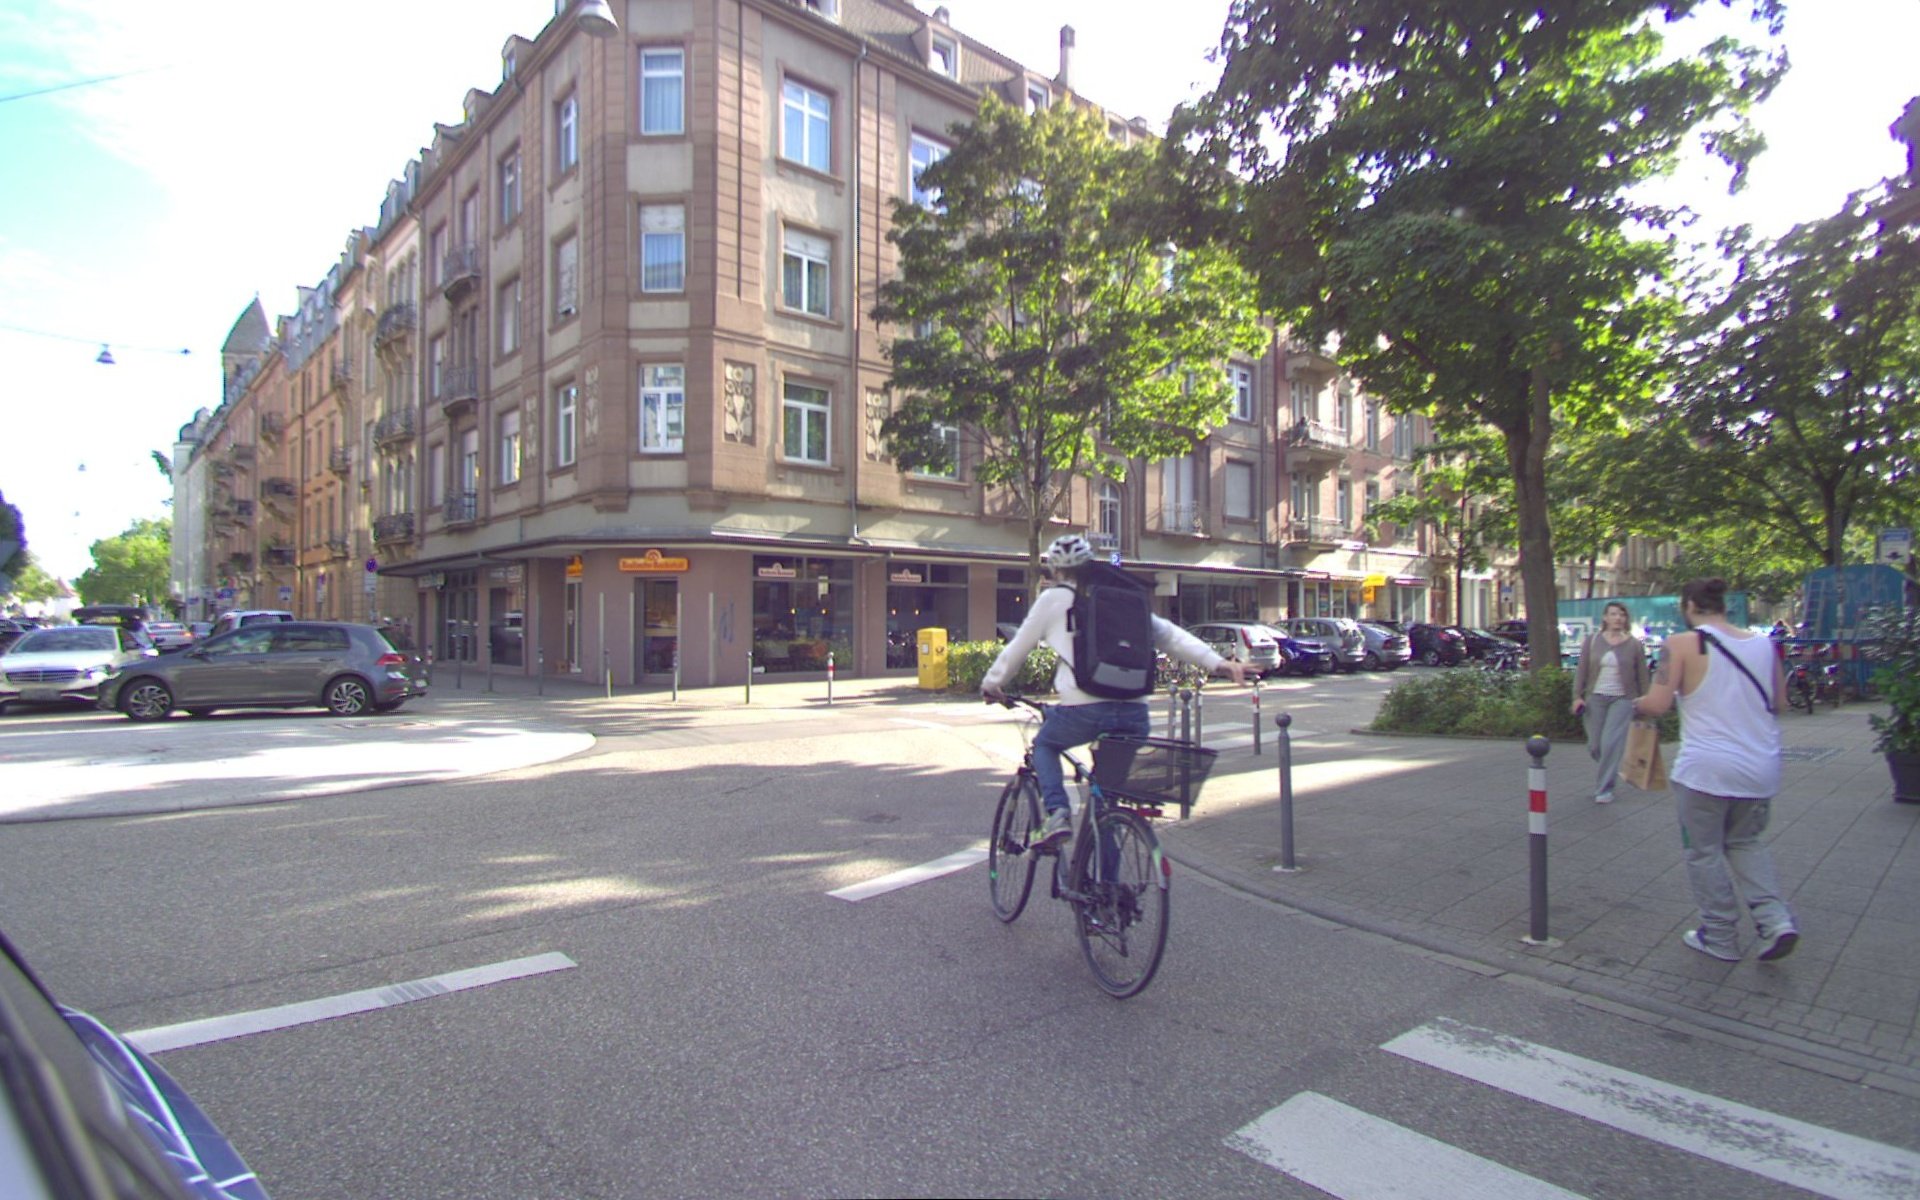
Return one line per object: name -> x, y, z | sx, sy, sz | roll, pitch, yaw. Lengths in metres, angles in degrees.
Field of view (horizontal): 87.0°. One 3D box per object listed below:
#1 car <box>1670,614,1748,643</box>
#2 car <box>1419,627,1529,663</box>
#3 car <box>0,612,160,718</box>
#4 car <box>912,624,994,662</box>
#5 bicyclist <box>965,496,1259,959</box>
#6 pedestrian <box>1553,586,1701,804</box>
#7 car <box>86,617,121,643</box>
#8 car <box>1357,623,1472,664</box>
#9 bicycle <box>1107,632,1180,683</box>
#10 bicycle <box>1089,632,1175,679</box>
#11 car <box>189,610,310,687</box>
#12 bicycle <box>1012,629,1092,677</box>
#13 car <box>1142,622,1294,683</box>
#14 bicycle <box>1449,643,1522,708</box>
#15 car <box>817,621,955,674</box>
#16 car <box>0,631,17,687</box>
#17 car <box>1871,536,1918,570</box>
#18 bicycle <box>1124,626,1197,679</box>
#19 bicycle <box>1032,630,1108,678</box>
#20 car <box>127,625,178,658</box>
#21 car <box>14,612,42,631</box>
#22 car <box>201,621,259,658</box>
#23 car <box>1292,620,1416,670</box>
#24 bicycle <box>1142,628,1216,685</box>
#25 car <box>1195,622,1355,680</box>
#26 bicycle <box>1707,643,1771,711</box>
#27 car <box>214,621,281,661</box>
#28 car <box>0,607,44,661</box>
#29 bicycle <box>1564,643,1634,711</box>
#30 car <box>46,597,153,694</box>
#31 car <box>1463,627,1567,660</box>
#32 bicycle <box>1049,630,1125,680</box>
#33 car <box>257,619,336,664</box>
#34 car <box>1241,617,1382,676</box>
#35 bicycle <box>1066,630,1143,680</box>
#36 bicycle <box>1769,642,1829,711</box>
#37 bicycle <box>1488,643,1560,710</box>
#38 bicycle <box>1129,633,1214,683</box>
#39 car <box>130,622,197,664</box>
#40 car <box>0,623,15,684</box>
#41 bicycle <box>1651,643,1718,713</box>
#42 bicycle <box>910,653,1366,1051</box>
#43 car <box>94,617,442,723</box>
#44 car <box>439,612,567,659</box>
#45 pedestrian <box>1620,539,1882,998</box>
car -> 43.613, 1.677, 58.954 | 1.571, 1.605, 3.365 | -1, -1, -40
car -> 18.904, 1.639, 37.307 | 1.355, 1.263, 3.344 | 3, -3, -41
car -> -15.917, 1.058, 18.107 | 1.912, 1.609, 4.850 | -1, 0, -31
car -> -0.290, 1.934, 46.430 | 3.576, 1.578, 1.581 | -1, -1, -40
bicyclist -> 0.616, 0.483, 4.370 | 0.691, 1.690, 1.115 | 2, -2, -32
pedestrian -> 5.206, 0.710, 7.905 | 0.797, 1.590, 0.616 | -1, -4, -37
car -> -66.811, 2.358, 78.917 | 1.915, 1.894, 4.841 | -1, -1, -43
car -> 15.560, 1.483, 34.768 | 1.355, 1.342, 3.344 | 3, -3, -41
bicycle -> 4.317, 1.320, 23.710 | 2.230, 1.143, 0.479 | 1, -2, -45
bicycle -> 4.268, 1.360, 24.977 | 2.474, 1.110, 0.709 | 2, -4, -42
car -> -18.543, 1.237, 26.334 | 4.332, 1.804, 1.808 | -3, -2, 44
bicycle -> 2.337, 1.307, 25.437 | 2.396, 1.143, 0.580 | 1, -2, -45
car -> 6.864, 1.359, 27.162 | 1.552, 1.488, 3.704 | -1, -1, -41
bicycle -> 9.289, 1.303, 17.853 | 0.591, 1.038, 2.112 | -4, -3, 42
car -> -2.254, 1.402, 30.293 | 3.995, 1.441, 1.744 | -2, -1, 39
car -> -25.213, 1.388, 24.199 | 1.503, 1.391, 3.560 | 0, -3, 22
car -> 61.567, -3.057, 66.622 | 3.940, 2.029, 2.002 | -1, -1, -44
bicycle -> 4.652, 1.183, 23.366 | 2.257, 1.166, 0.479 | 1, -2, -45
bicycle -> 2.741, 1.312, 25.025 | 2.396, 1.143, 0.479 | 1, -2, -45
car -> -38.875, 1.965, 48.671 | 1.743, 1.392, 4.458 | -3, 0, -41
car -> -97.252, 2.223, 105.634 | 1.968, 1.903, 4.007 | -1, -1, -40
car -> -33.716, 1.799, 46.705 | 1.736, 1.610, 4.347 | 0, -2, -41
car -> 12.320, 1.384, 31.762 | 1.355, 1.454, 3.344 | -1, -1, -41
bicycle -> 4.996, 1.260, 22.969 | 2.259, 1.234, 0.479 | 1, -2, -45
car -> 8.788, 1.391, 28.502 | 1.552, 1.488, 4.080 | -1, -1, -41
bicycle -> 12.360, 1.199, 16.039 | 0.591, 0.976, 2.047 | -4, -3, 42
car -> -29.464, 1.665, 41.824 | 1.736, 1.508, 4.137 | -1, -1, -43
car -> -44.297, 1.553, 45.178 | 1.982, 2.441, 4.715 | -2, -1, 15
bicycle -> 10.632, 1.256, 16.798 | 0.591, 1.019, 2.047 | -4, -3, 42
car -> -20.139, 1.029, 23.816 | 1.765, 2.079, 4.007 | 1, -2, -39
car -> 21.983, 1.718, 40.180 | 1.355, 1.263, 3.344 | 3, -3, -41
bicycle -> 3.114, 1.313, 24.637 | 2.396, 1.143, 0.479 | 1, -2, -45
car -> -22.390, 1.363, 34.108 | 1.698, 1.379, 3.834 | -1, -1, -41
car -> 10.471, 1.358, 30.338 | 1.552, 1.608, 3.704 | -1, -1, -41
bicycle -> 3.500, 1.288, 24.269 | 2.396, 1.143, 0.479 | 1, -2, -45
bicycle -> 13.206, 1.177, 15.918 | 0.591, 0.976, 2.047 | -4, -3, 42
bicycle -> 9.690, 1.288, 17.351 | 0.591, 1.038, 2.047 | -4, -3, 42
bicycle -> 5.220, 1.408, 24.836 | 2.474, 1.110, 0.651 | 0, -2, -41
car -> -33.169, 1.749, 42.102 | 1.969, 1.647, 4.851 | 0, -2, -41
car -> -26.864, 1.337, 25.904 | 1.505, 1.628, 3.557 | 0, -3, 25
bicycle -> 11.610, 1.220, 16.193 | 0.591, 1.019, 2.047 | -4, -3, 42
bicycle -> 0.605, 0.868, 4.358 | 0.691, 1.229, 2.123 | 2, -2, -32
car -> -10.241, 1.021, 15.278 | 3.936, 1.449, 1.801 | 0, -3, -9
car -> -17.223, 1.312, 38.238 | 1.998, 1.633, 3.947 | -2, -1, 39
pedestrian -> 3.408, 0.628, 4.372 | 0.804, 1.683, 1.008 | -1, -1, 41
